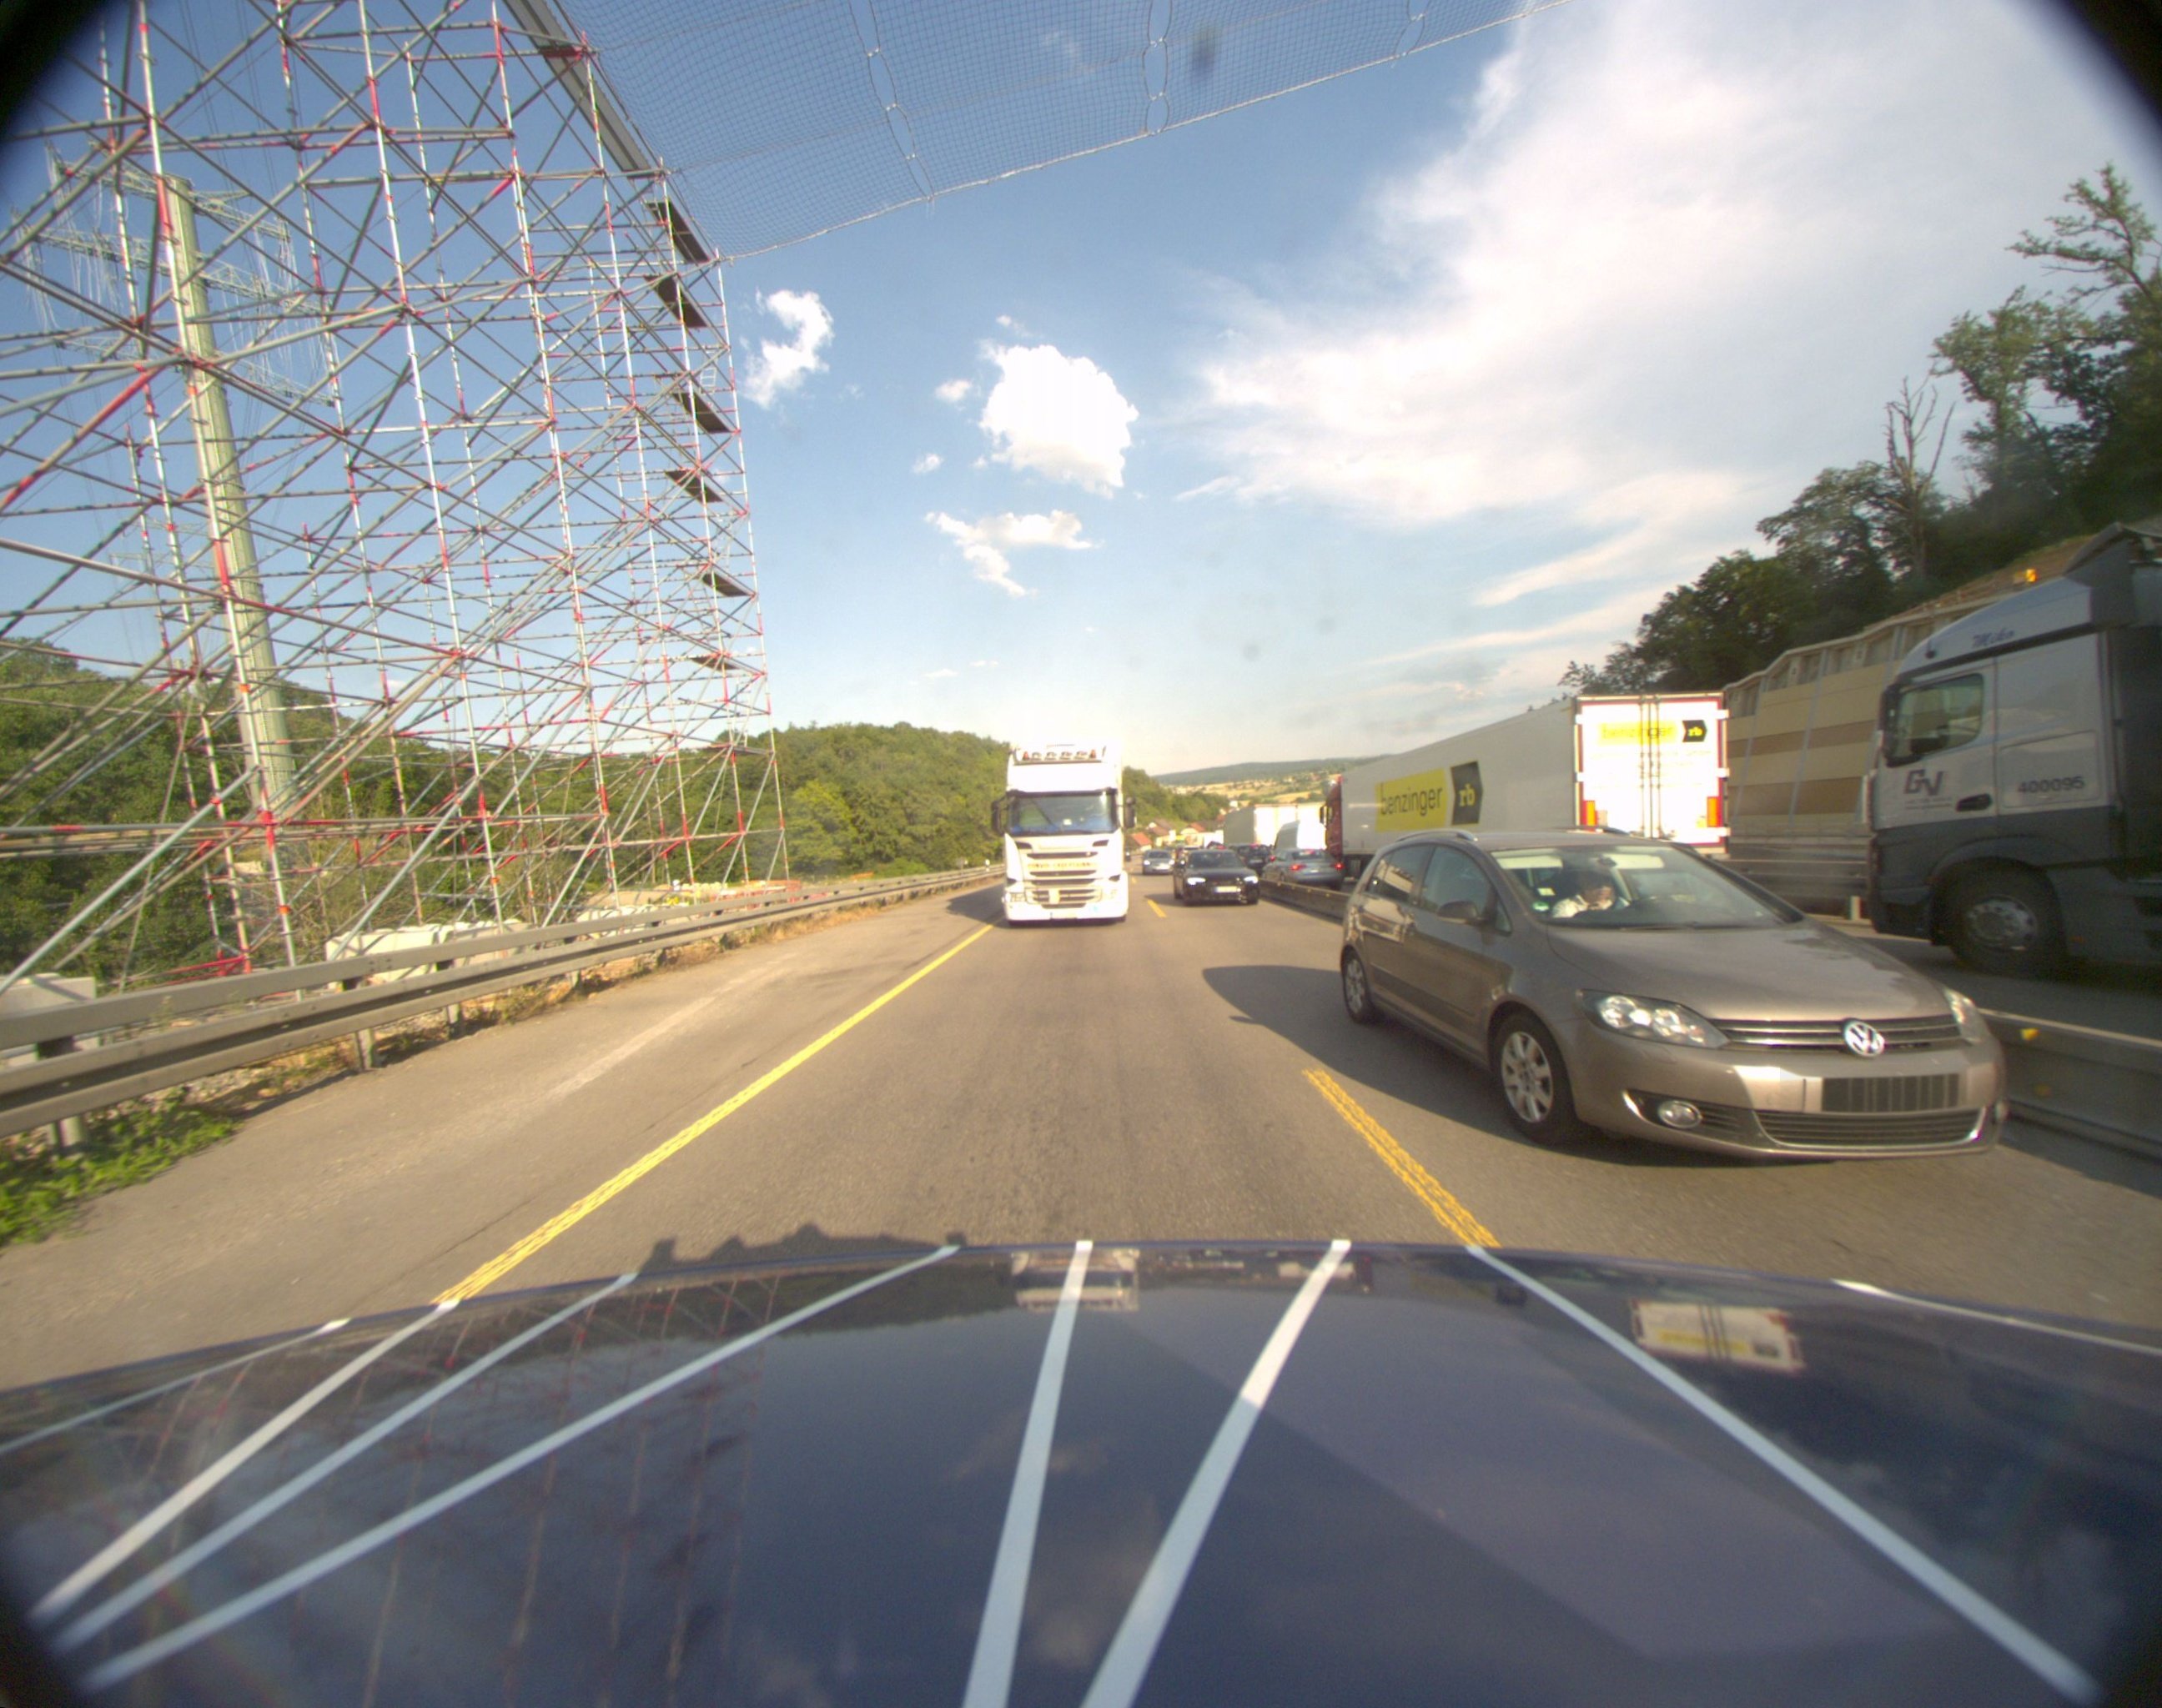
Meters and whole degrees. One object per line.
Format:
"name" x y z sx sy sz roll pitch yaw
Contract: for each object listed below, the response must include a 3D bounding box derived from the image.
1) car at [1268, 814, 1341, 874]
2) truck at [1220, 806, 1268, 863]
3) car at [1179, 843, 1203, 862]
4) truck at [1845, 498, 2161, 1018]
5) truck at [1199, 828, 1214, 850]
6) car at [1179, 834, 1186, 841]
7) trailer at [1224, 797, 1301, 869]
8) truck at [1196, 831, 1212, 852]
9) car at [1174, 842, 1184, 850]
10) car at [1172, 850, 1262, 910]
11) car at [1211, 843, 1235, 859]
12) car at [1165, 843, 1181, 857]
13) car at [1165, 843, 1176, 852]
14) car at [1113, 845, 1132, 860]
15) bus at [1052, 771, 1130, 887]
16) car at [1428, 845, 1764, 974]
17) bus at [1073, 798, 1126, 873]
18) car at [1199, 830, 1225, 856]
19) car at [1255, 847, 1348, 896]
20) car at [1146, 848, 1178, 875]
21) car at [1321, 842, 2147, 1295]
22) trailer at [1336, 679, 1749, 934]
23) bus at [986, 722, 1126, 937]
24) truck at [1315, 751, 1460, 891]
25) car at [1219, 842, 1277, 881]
"car" 11.299 -0.484 38.967 2.026 2.674 6.950 -3 0 4
"truck" 12.537 -1.483 58.995 2.719 4.194 5.683 -2 1 3
"car" 9.751 -0.182 67.748 1.873 1.579 4.805 -1 1 6
"truck" 9.962 -0.782 5.567 2.794 4.118 5.933 -2 1 1
"truck" 24.491 -2.970 148.092 2.712 4.065 14.160 -1 1 9
"car" 28.290 -4.535 212.096 1.821 1.988 4.757 0 0 6
"trailer" 12.146 -1.367 52.365 2.727 4.194 13.749 -2 1 3
"truck" 21.738 -2.213 134.017 2.451 3.443 7.622 -1 1 10
"car" 19.937 -1.677 154.709 1.821 1.569 4.757 0 0 6
"car" 3.569 0.624 20.596 1.867 1.391 4.000 -1 1 2
"car" 13.222 -0.273 71.015 1.747 1.452 4.715 -1 0 5
"car" 11.421 -0.524 94.088 1.891 1.559 4.458 -3 0 8
"car" 16.124 -1.205 137.229 1.821 1.569 4.757 0 0 6
"car" 4.749 -0.206 87.669 1.998 1.630 3.999 -2 1 1
"bus" 0.517 -1.028 35.349 2.985 4.553 9.967 -1 1 1
"car" 7.098 0.625 11.259 1.736 1.431 4.837 -3 1 1
"bus" 1.458 -1.171 52.061 2.984 4.553 10.905 -1 1 4
"car" 15.168 -1.283 88.359 2.339 2.901 7.633 -1 1 5
"car" 7.206 0.508 25.334 1.735 1.369 4.891 -3 1 1
"car" 4.613 0.387 43.828 1.698 1.390 4.001 -3 0 5
"car" 2.955 0.737 4.735 1.688 1.565 4.099 -2 1 2
"trailer" 10.296 -0.926 20.042 2.773 4.309 13.880 -2 1 2
"bus" -0.229 -0.590 20.278 2.635 4.077 11.313 -1 1 2
"truck" 10.483 -1.077 26.681 2.751 4.275 5.933 -2 1 2
"car" 7.572 0.297 34.938 1.756 1.648 4.863 -1 1 2
